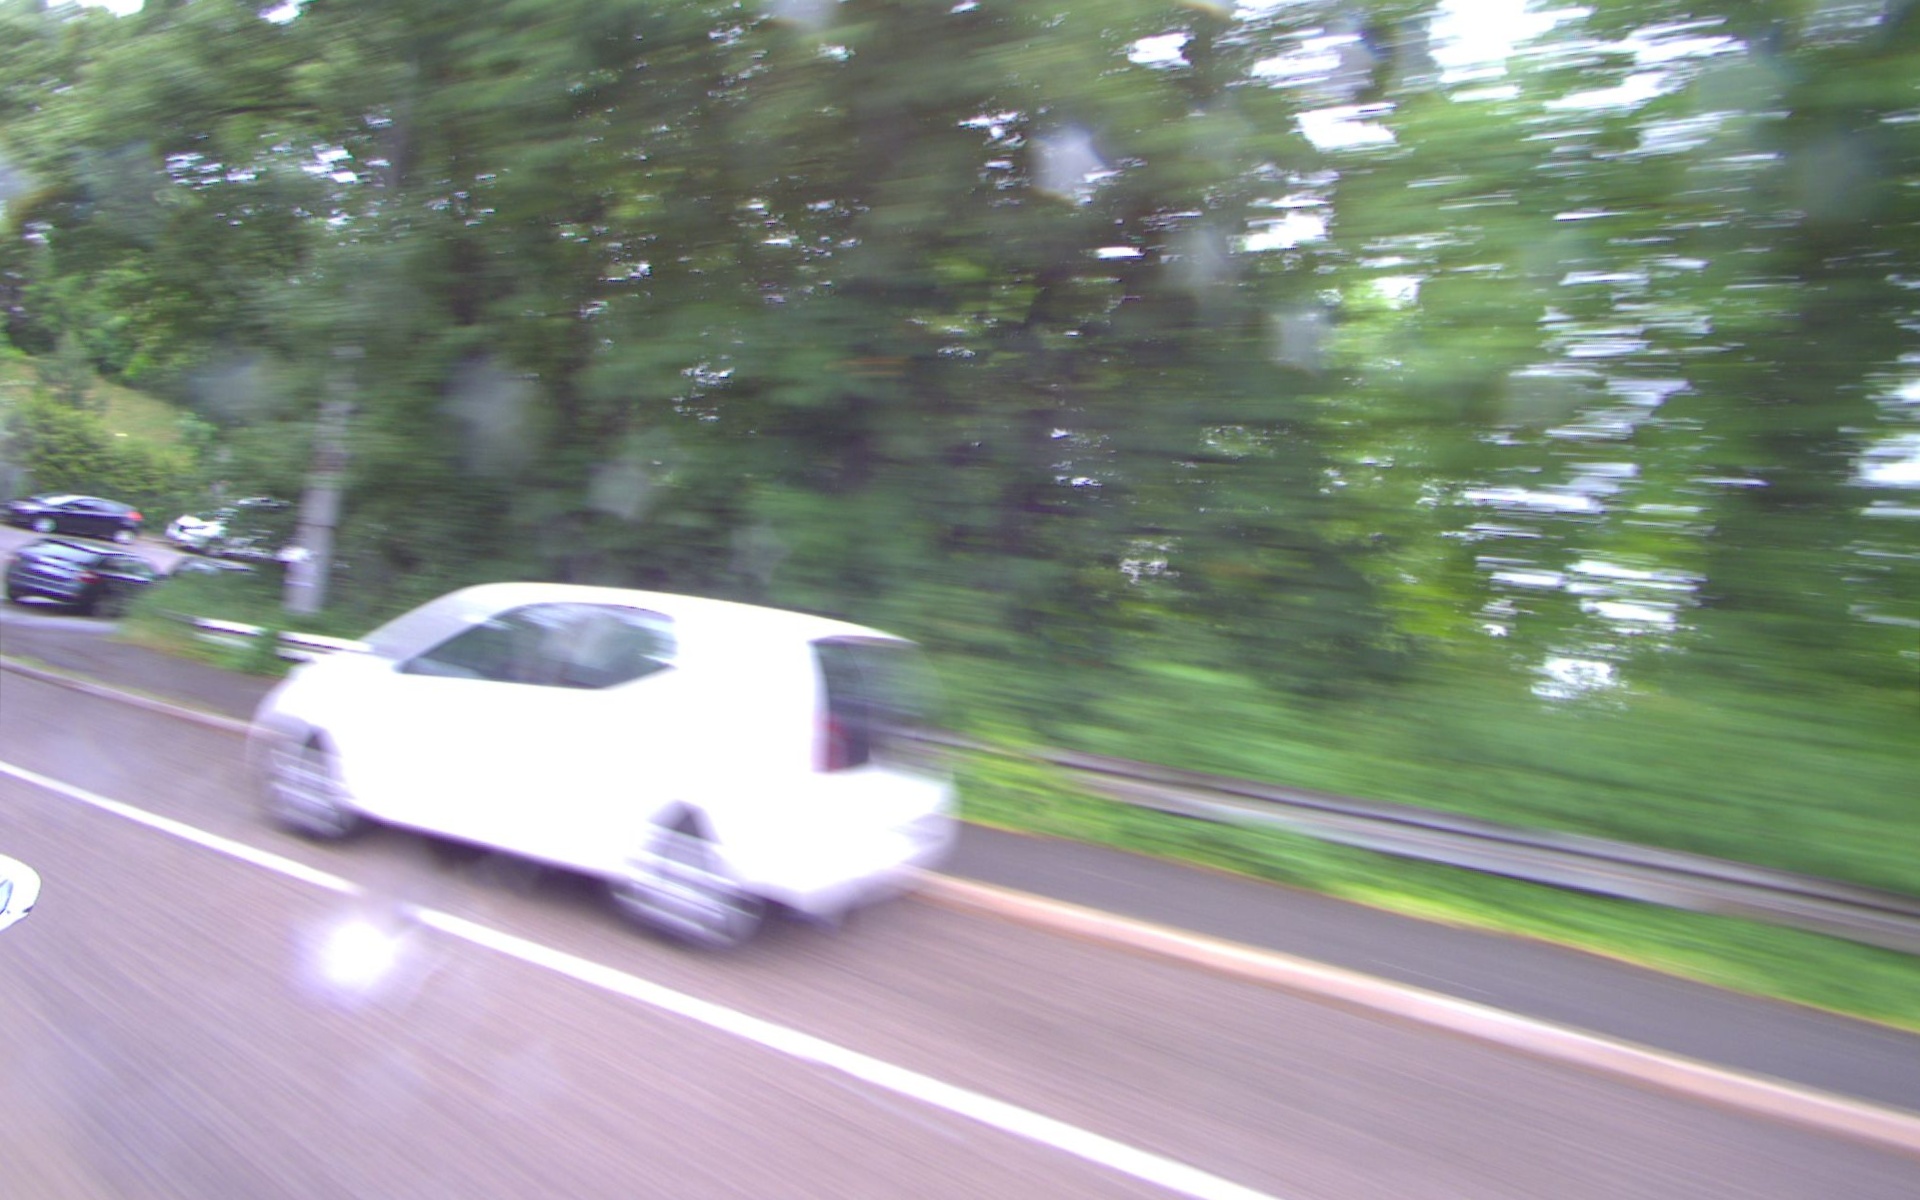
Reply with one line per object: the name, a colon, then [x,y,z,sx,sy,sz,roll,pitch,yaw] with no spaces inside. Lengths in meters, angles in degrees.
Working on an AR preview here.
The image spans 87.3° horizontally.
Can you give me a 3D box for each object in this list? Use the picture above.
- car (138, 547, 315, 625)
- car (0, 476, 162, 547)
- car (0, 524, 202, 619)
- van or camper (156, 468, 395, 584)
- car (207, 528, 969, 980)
car: [-19.501,-0.307,26.972,1.661,1.421,3.735,14,-3,3]
car: [-31.062,-3.062,35.328,1.727,1.369,4.322,14,-2,20]
car: [-18.579,-0.518,21.838,1.632,1.478,4.026,14,-5,-13]
van or camper: [-28.113,-2.914,41.793,2.164,2.963,7.664,14,-1,29]
car: [-1.992,0.638,5.430,3.600,1.518,1.591,7,-3,23]
